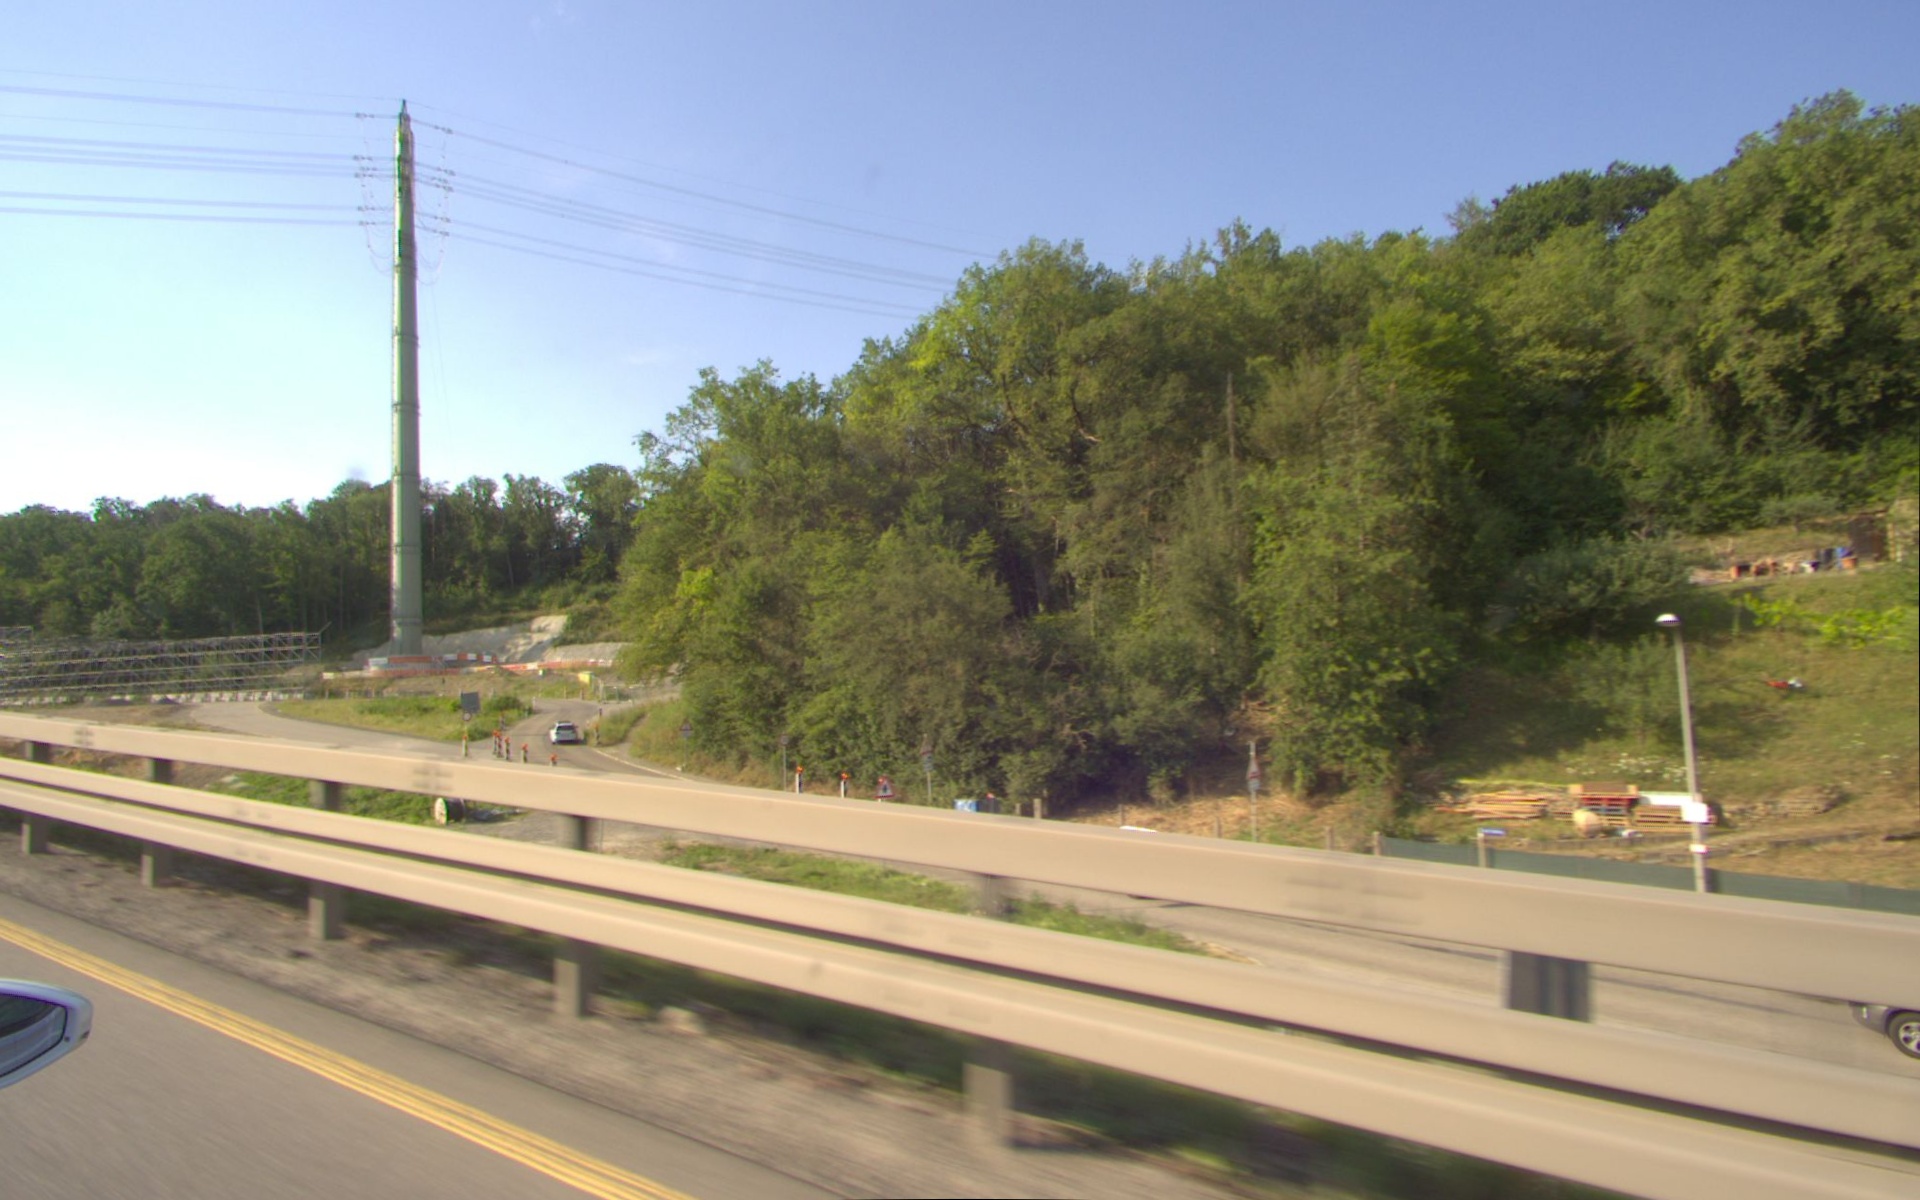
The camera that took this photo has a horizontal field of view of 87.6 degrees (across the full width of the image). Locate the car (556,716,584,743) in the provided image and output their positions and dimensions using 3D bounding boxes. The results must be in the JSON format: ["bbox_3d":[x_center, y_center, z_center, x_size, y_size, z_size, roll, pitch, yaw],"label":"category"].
[{"bbox_3d":[-27.618,9.164,71.038,1.503,1.479,4.261,-1,-1,-17],"label":"car"}]

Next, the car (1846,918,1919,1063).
[{"bbox_3d":[17.192,6.568,15.922,1.850,1.807,4.458,1,-3,-43],"label":"car"}]
